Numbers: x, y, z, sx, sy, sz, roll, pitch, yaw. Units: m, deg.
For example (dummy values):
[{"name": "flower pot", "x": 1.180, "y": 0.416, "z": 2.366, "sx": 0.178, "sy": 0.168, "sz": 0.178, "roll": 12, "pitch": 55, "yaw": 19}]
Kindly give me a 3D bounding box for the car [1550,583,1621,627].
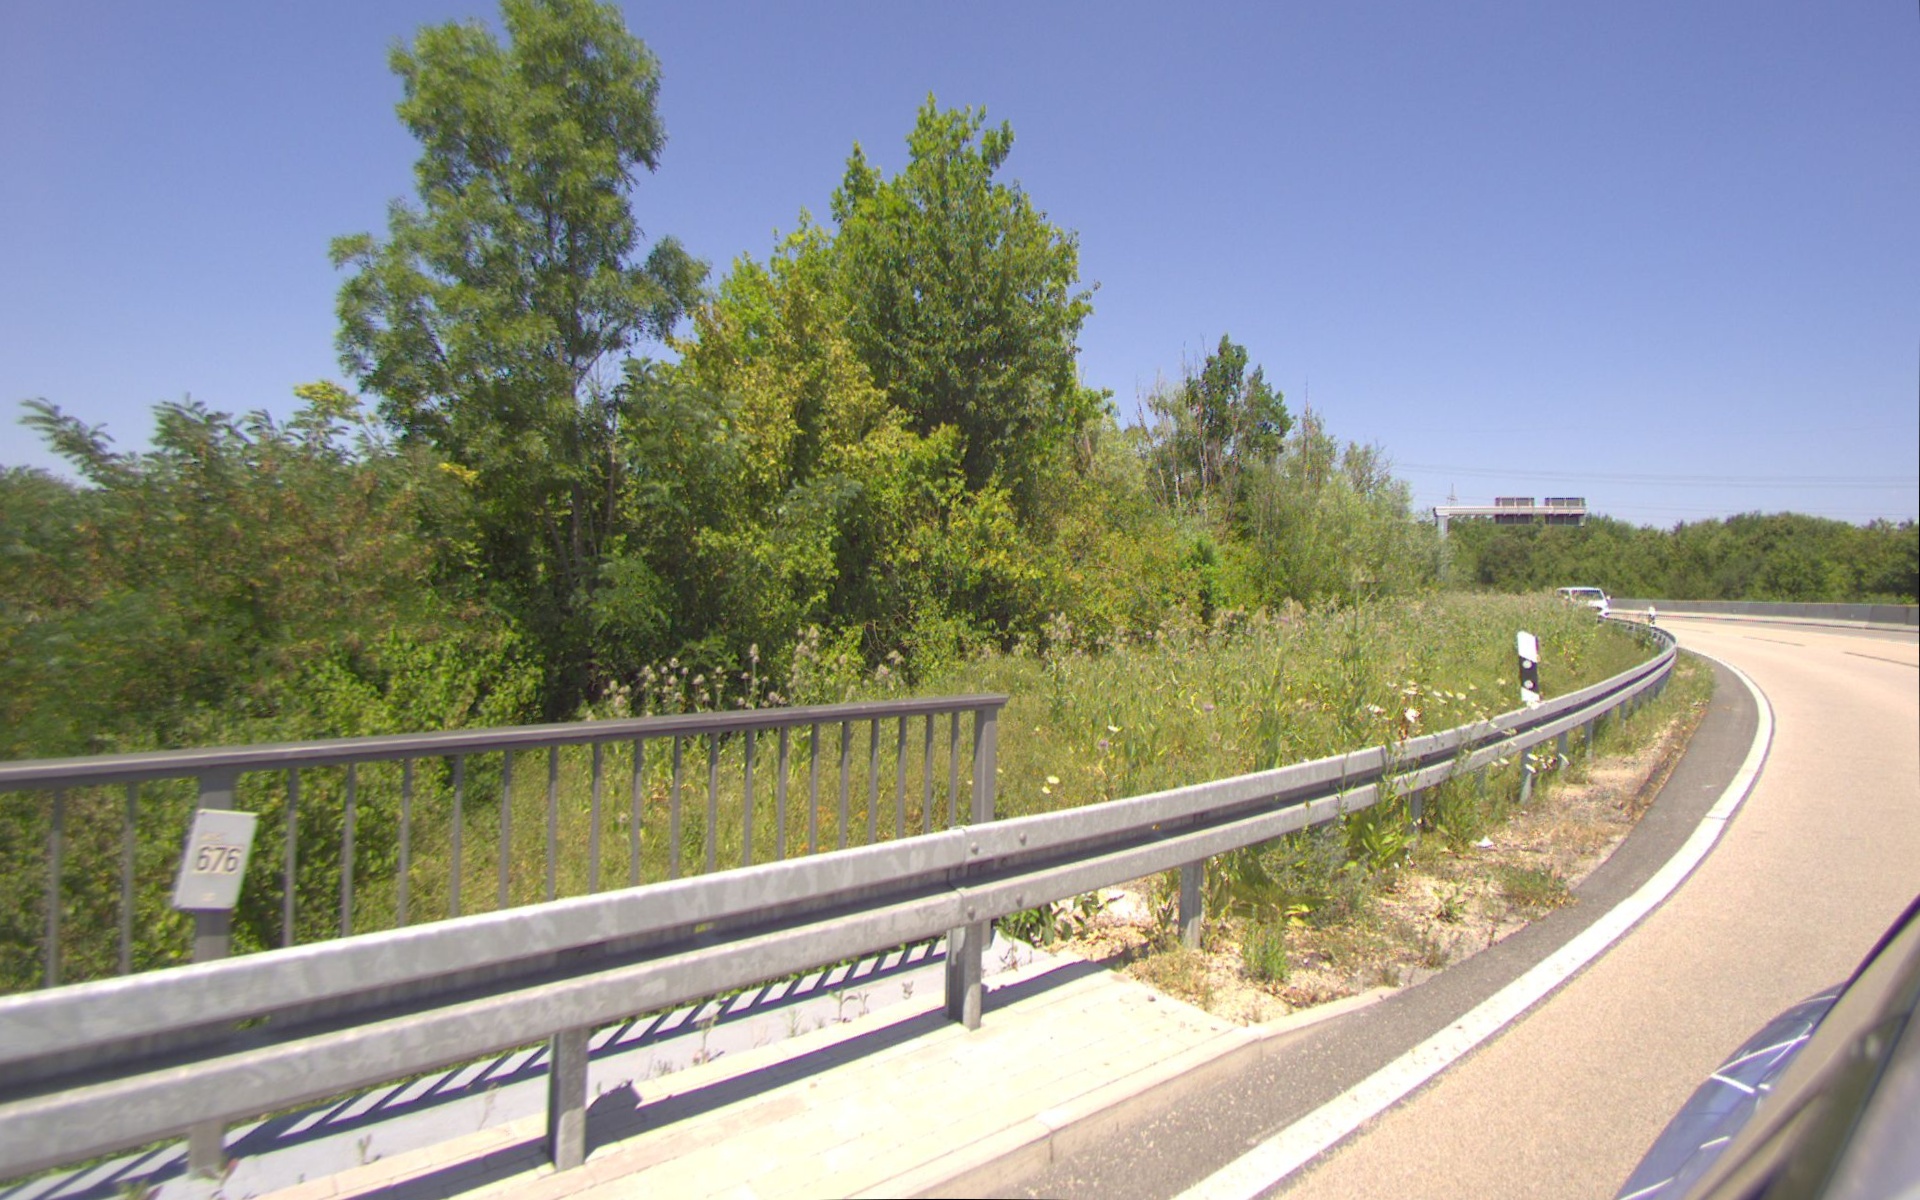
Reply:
[{"name": "car", "x": 35.844, "y": 0.220, "z": 58.141, "sx": 2.004, "sy": 2.109, "sz": 5.845, "roll": -1, "pitch": 3, "yaw": 17}]
